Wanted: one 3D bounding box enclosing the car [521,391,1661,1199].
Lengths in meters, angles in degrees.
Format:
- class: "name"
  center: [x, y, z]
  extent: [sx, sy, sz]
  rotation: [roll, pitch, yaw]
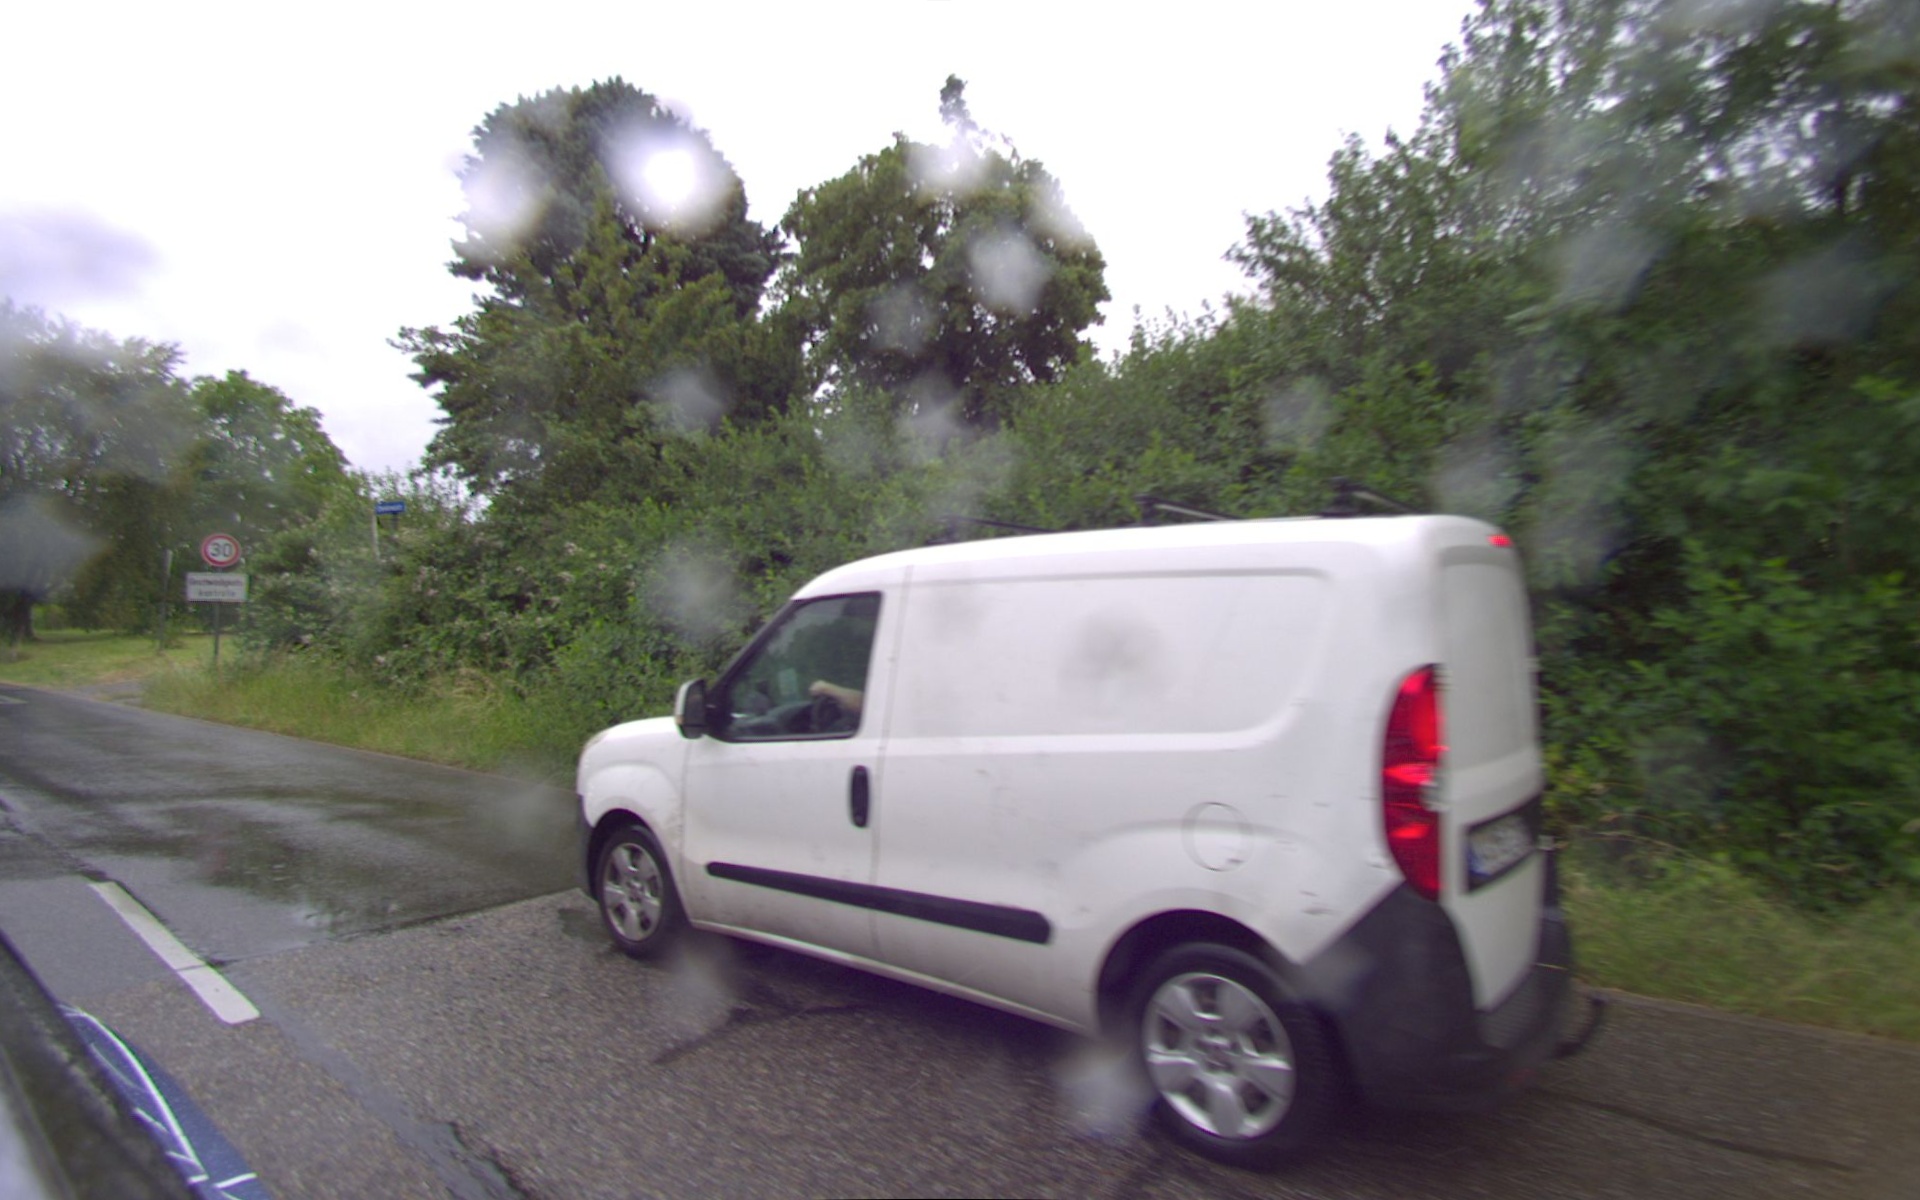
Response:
- class: "car"
  center: [0.192, 0.522, 4.131]
  extent: [4.301, 1.845, 1.806]
  rotation: [-1, -1, 38]
